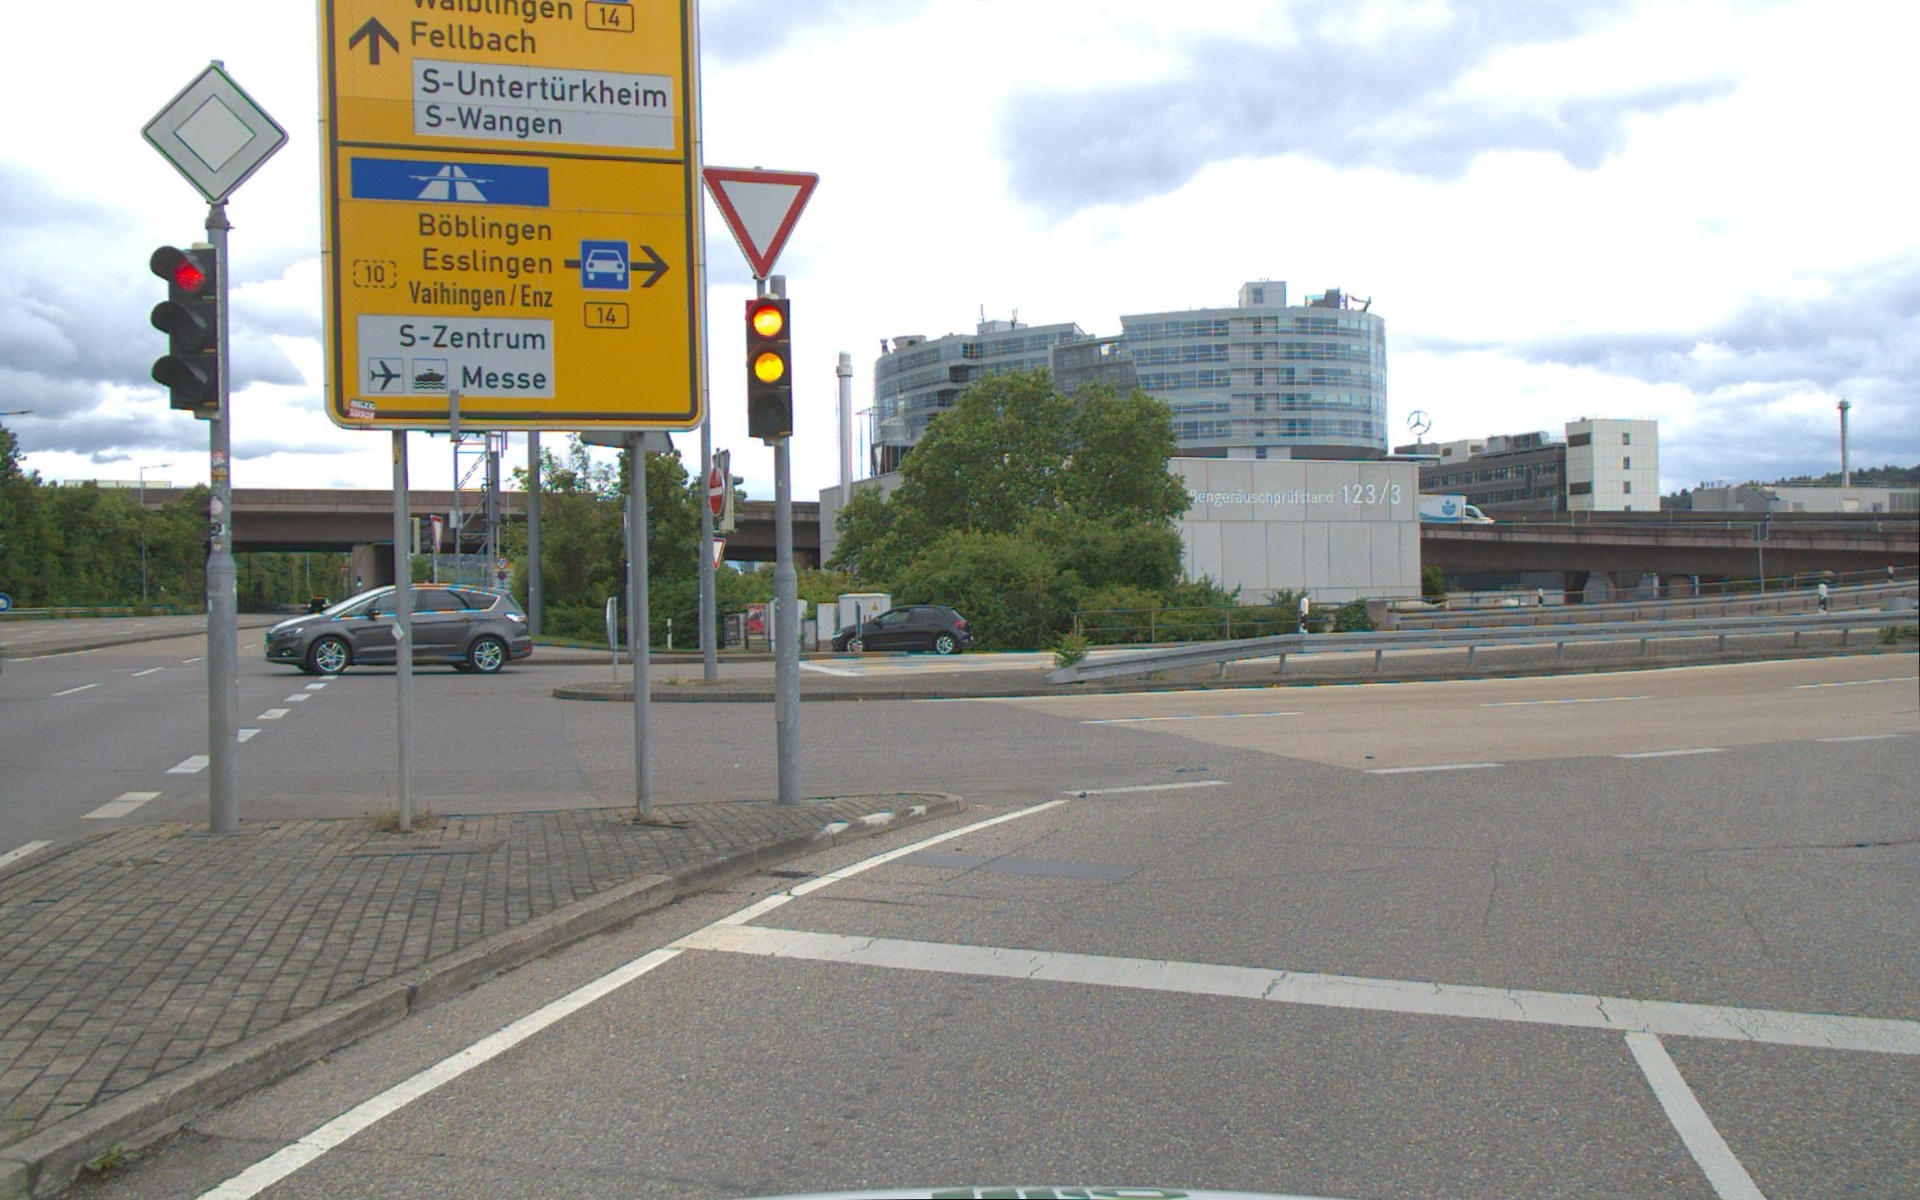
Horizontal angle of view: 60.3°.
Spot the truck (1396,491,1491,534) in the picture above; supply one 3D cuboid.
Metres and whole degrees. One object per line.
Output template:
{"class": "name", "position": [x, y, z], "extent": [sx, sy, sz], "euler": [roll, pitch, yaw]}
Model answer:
{"class": "truck", "position": [39.214, -7.077, 134.213], "extent": [7.177, 3.326, 2.329], "euler": [1, 0, 23]}

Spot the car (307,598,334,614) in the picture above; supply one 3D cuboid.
{"class": "car", "position": [-64.337, 0.583, 166.350], "extent": [1.829, 1.407, 3.858], "euler": [3, 1, -11]}

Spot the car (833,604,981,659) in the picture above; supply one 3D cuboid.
{"class": "car", "position": [-1.458, 0.871, 46.682], "extent": [3.896, 1.446, 1.917], "euler": [1, 0, 7]}

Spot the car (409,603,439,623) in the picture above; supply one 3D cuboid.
{"class": "car", "position": [-40.840, 1.001, 126.122], "extent": [1.961, 1.467, 4.091], "euler": [1, -2, -16]}

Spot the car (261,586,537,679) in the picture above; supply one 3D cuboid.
{"class": "car", "position": [-10.434, 0.553, 30.855], "extent": [4.629, 1.599, 1.936], "euler": [0, 1, -30]}

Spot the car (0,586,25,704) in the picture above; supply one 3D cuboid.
{"class": "car", "position": [-13.950, 0.583, 19.667], "extent": [1.915, 1.482, 4.608], "euler": [1, 1, 33]}
